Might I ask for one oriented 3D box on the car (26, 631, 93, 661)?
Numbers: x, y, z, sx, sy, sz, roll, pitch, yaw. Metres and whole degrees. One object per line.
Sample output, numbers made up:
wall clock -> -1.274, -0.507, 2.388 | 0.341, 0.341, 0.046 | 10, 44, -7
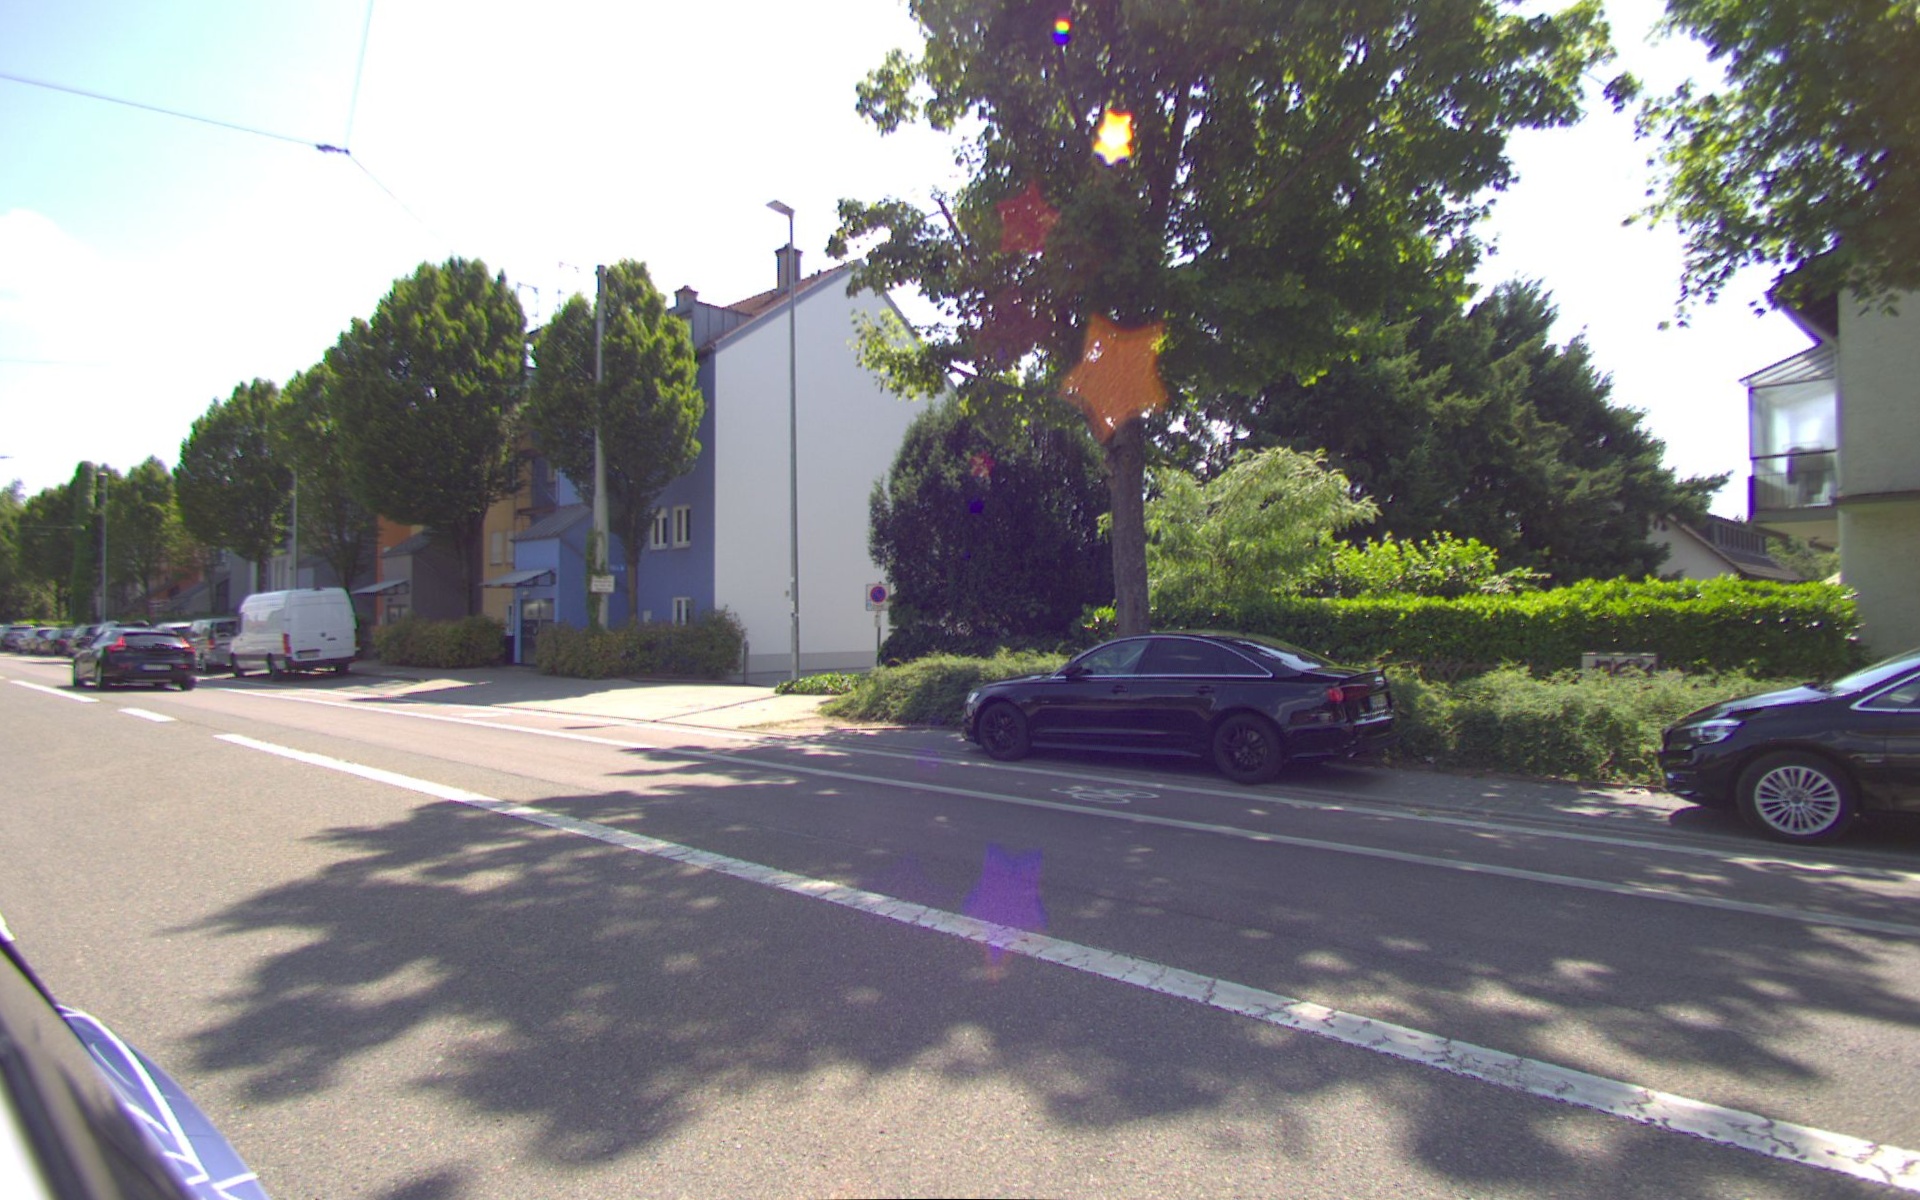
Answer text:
car -> -48.619, 2.464, 54.610 | 4.955, 1.457, 1.726 | -2, 0, 37

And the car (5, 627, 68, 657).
car -> -53.347, 2.386, 58.435 | 4.885, 1.519, 1.641 | -1, 1, 35

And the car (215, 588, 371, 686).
car -> -21.122, 1.129, 31.870 | 7.033, 2.670, 2.299 | -2, 2, 42

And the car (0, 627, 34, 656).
car -> -57.933, 2.534, 61.429 | 4.677, 1.621, 1.641 | -2, 0, 36

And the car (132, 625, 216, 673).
car -> -31.686, 1.930, 40.737 | 4.900, 1.765, 1.699 | -2, -1, 40

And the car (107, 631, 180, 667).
car -> -35.611, 2.112, 44.108 | 4.082, 1.482, 1.583 | -1, -2, 38

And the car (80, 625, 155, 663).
car -> -39.526, 2.043, 47.448 | 4.881, 1.729, 1.734 | -2, -2, 38

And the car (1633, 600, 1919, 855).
car -> 7.313, 0.802, 6.659 | 4.633, 1.616, 1.757 | -2, -1, 40

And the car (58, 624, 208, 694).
car -> -19.194, 1.322, 23.434 | 4.189, 1.471, 1.758 | -1, -3, 38

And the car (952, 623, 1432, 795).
car -> 2.303, 1.005, 10.953 | 4.800, 1.467, 1.757 | -2, -2, 40

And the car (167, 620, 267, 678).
car -> -27.240, 1.759, 37.043 | 5.359, 1.909, 1.788 | -2, 1, 41

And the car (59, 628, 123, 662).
car -> -43.733, 2.228, 50.901 | 4.279, 1.630, 1.640 | -1, -2, 38

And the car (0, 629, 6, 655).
car -> -62.599, 2.660, 64.493 | 4.161, 1.622, 1.642 | -1, -1, 33
